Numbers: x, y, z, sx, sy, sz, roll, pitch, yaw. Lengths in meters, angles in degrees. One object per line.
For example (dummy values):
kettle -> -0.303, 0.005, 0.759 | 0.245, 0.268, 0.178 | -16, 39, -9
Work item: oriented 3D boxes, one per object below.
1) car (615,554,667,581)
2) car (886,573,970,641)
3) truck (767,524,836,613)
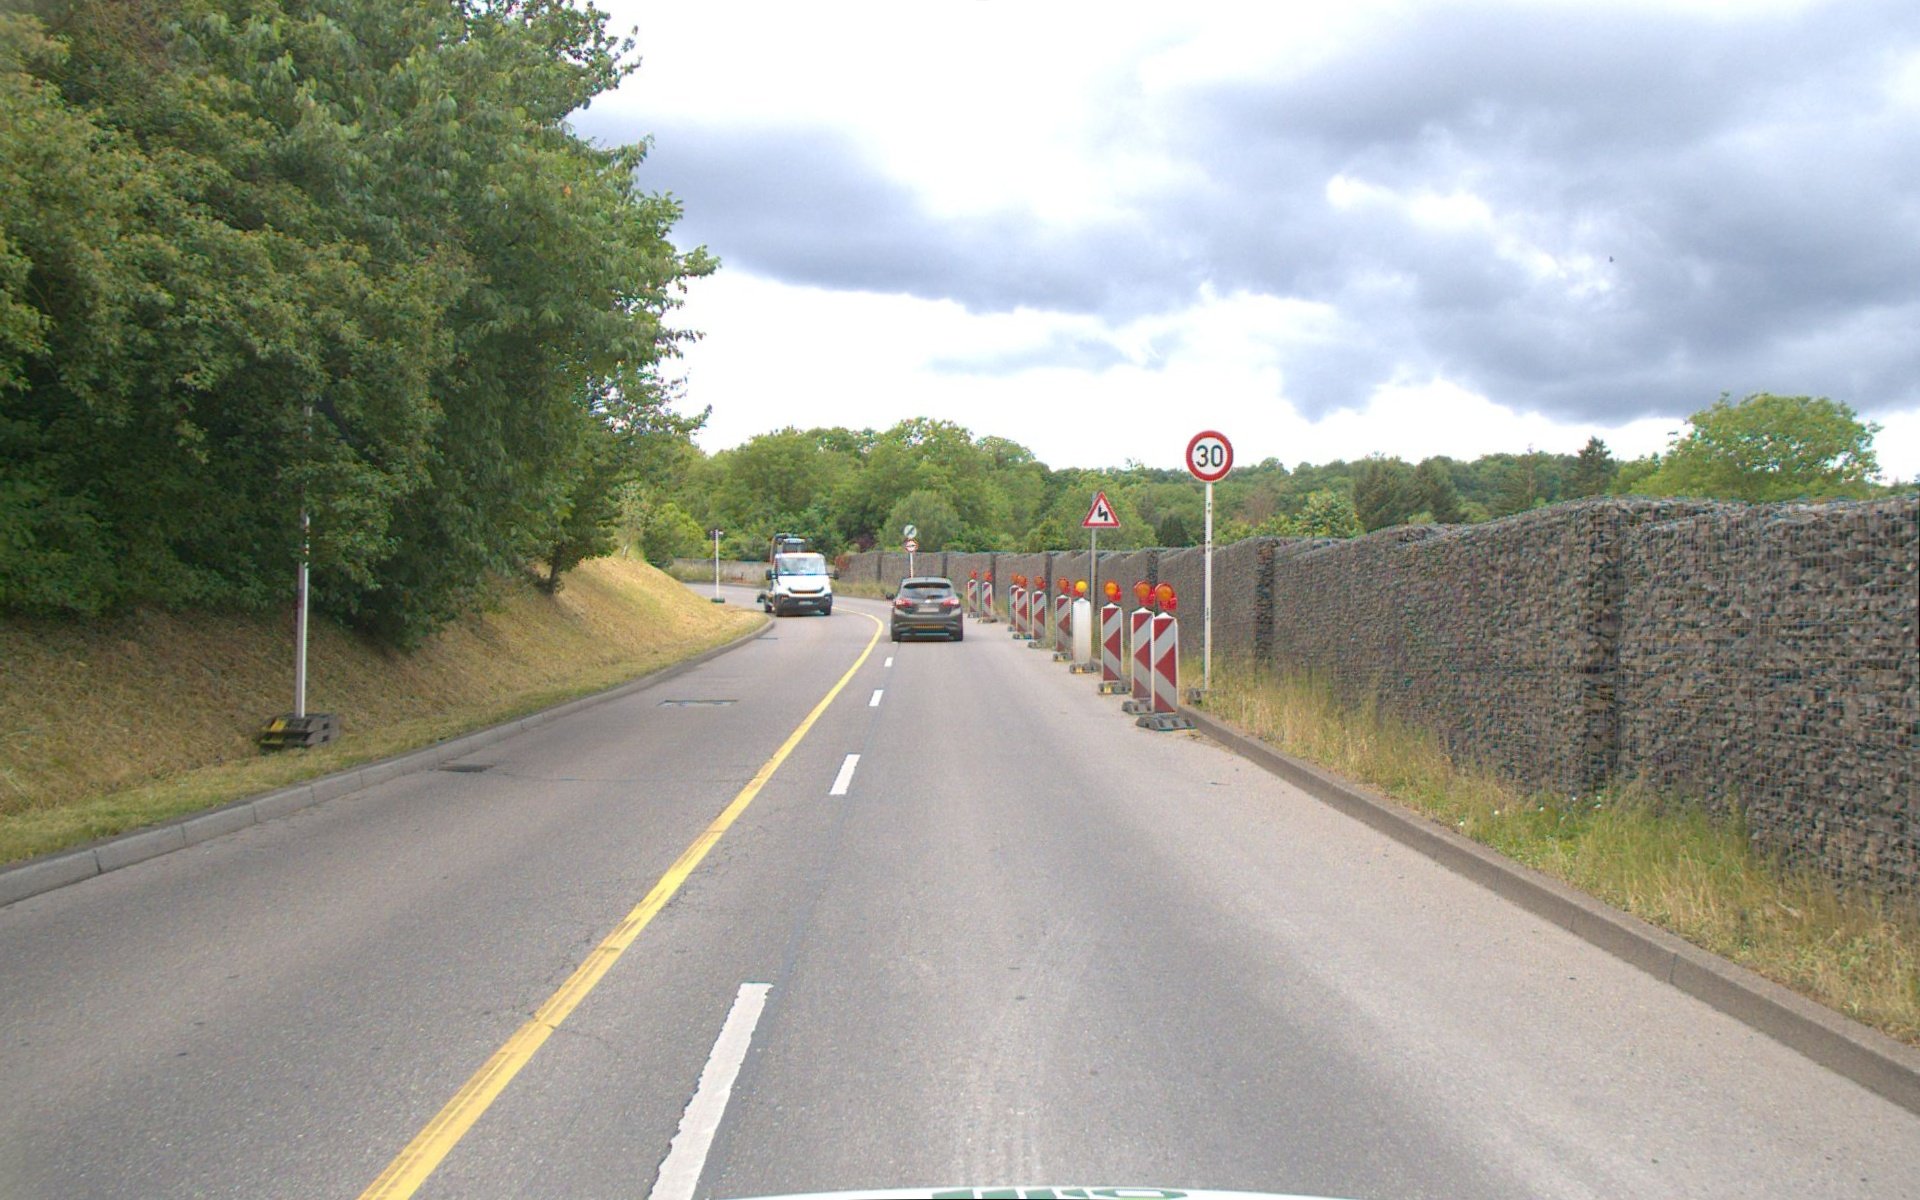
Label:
car -> -18.963, -1.898, 98.139 | 1.762, 1.478, 3.816 | 3, -2, -31
car -> -0.849, 0.138, 41.416 | 1.804, 1.509, 3.996 | -1, 2, -5
truck -> -5.955, -1.153, 61.354 | 2.173, 3.067, 7.725 | -1, 1, -8
